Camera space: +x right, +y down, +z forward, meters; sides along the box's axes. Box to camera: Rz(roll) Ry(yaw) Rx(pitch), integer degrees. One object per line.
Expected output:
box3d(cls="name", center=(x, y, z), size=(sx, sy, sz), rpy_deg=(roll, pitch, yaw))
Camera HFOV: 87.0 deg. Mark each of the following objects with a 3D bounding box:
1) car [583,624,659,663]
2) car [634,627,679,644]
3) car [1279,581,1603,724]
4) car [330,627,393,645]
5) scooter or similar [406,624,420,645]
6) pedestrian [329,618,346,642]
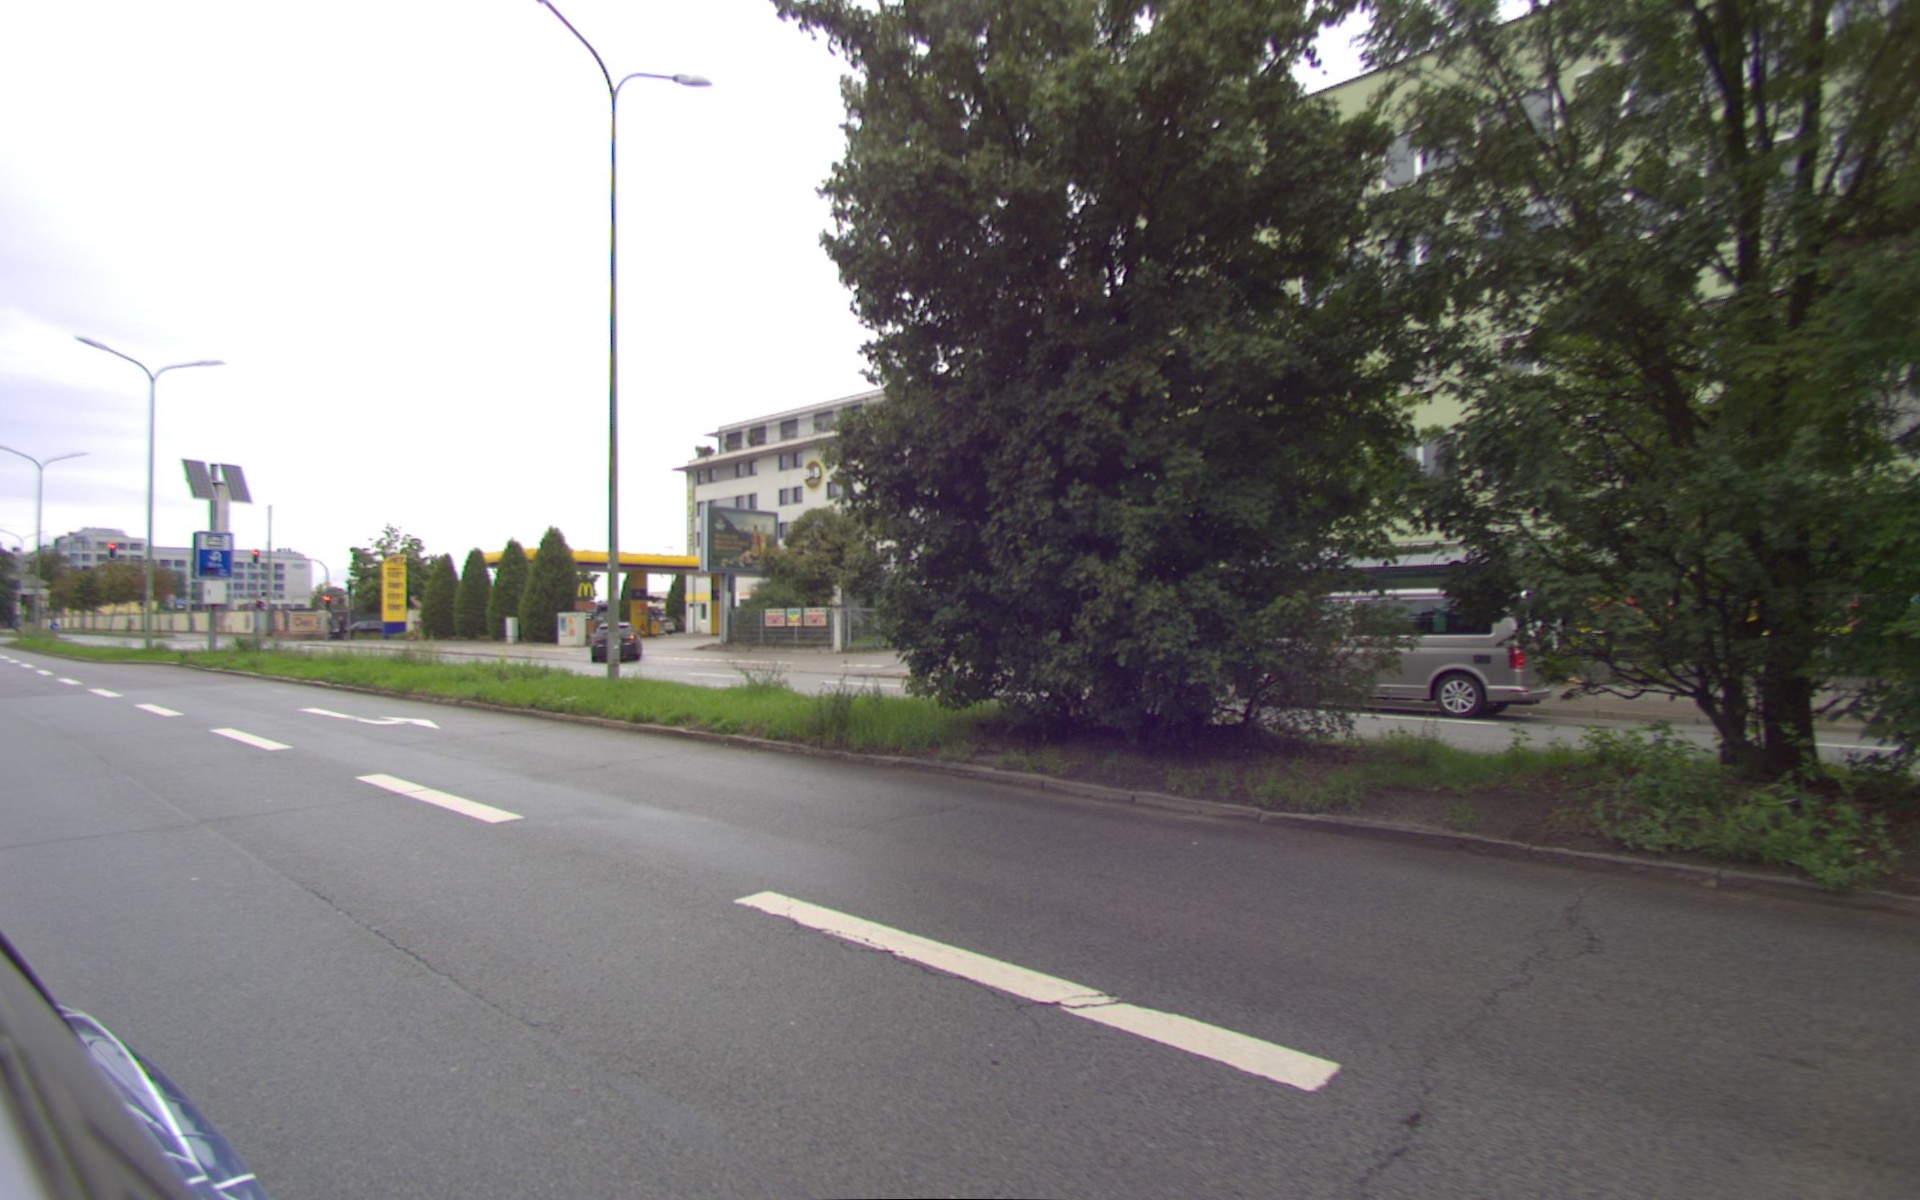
box3d(cls="car", center=(-13.054, 1.692, 39.195), size=(1.968, 1.412, 4.662), rpy_deg=(1, -2, -8))
box3d(cls="car", center=(-26.601, 3.088, 88.565), size=(4.192, 1.489, 1.882), rpy_deg=(-2, -3, 42))
box3d(cls="car", center=(7.589, 0.802, 16.216), size=(4.323, 1.976, 1.972), rpy_deg=(-2, -3, 42))
box3d(cls="car", center=(-50.206, 2.982, 84.908), size=(4.201, 1.439, 2.001), rpy_deg=(1, -2, -45))
box3d(cls="scooter or similar", center=(-34.154, 2.147, 63.172), size=(0.351, 1.252, 1.547), rpy_deg=(-2, 0, -42))
box3d(cls="pedestrian", center=(-43.229, 2.111, 70.252), size=(0.687, 1.627, 0.794), rpy_deg=(-2, 0, 42))
